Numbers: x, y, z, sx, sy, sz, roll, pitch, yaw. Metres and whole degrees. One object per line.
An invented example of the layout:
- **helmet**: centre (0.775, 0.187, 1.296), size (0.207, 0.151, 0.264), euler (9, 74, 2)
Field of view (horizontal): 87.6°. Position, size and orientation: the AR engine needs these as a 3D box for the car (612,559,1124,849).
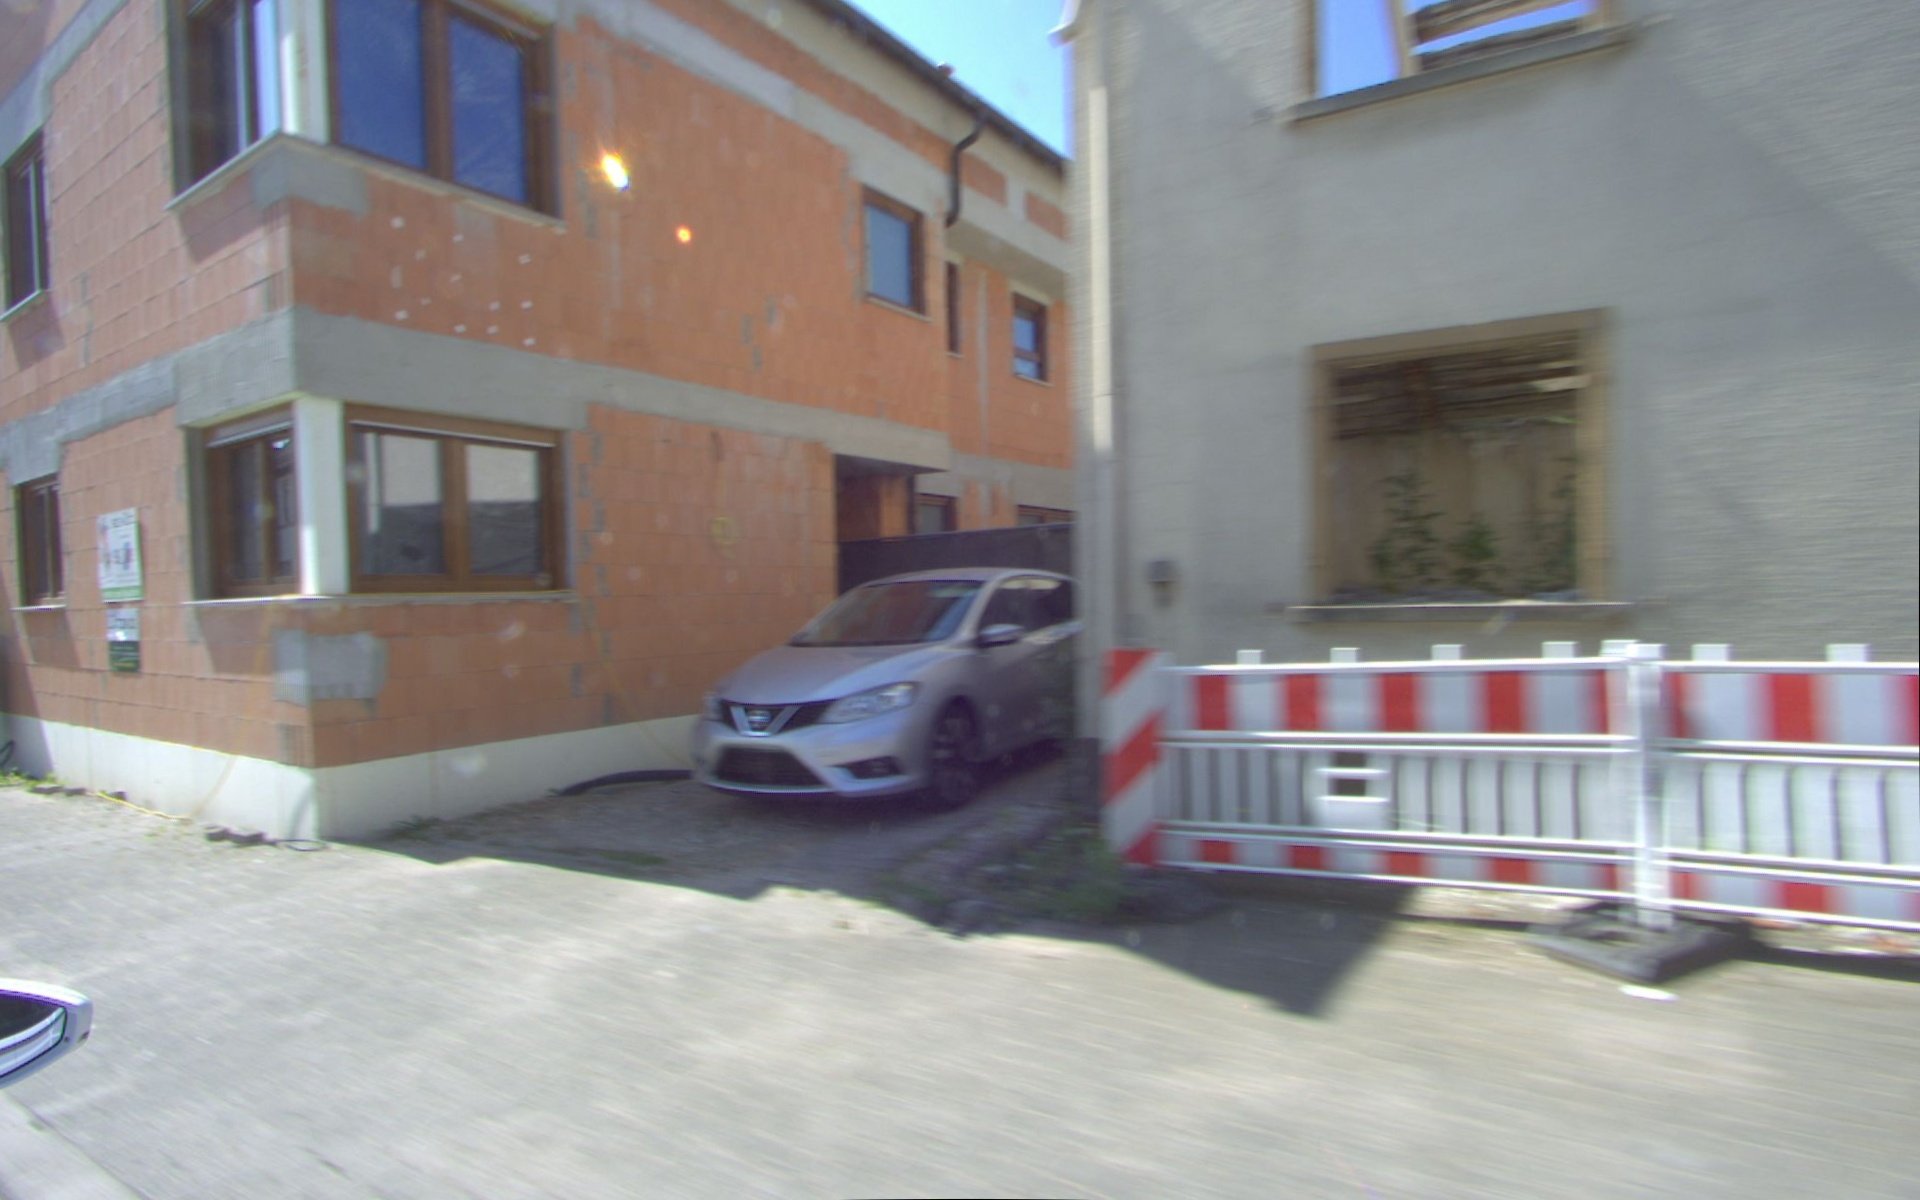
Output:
- **car**: centre (-0.336, 0.503, 7.494), size (1.841, 1.528, 4.082), euler (-1, 1, 28)
